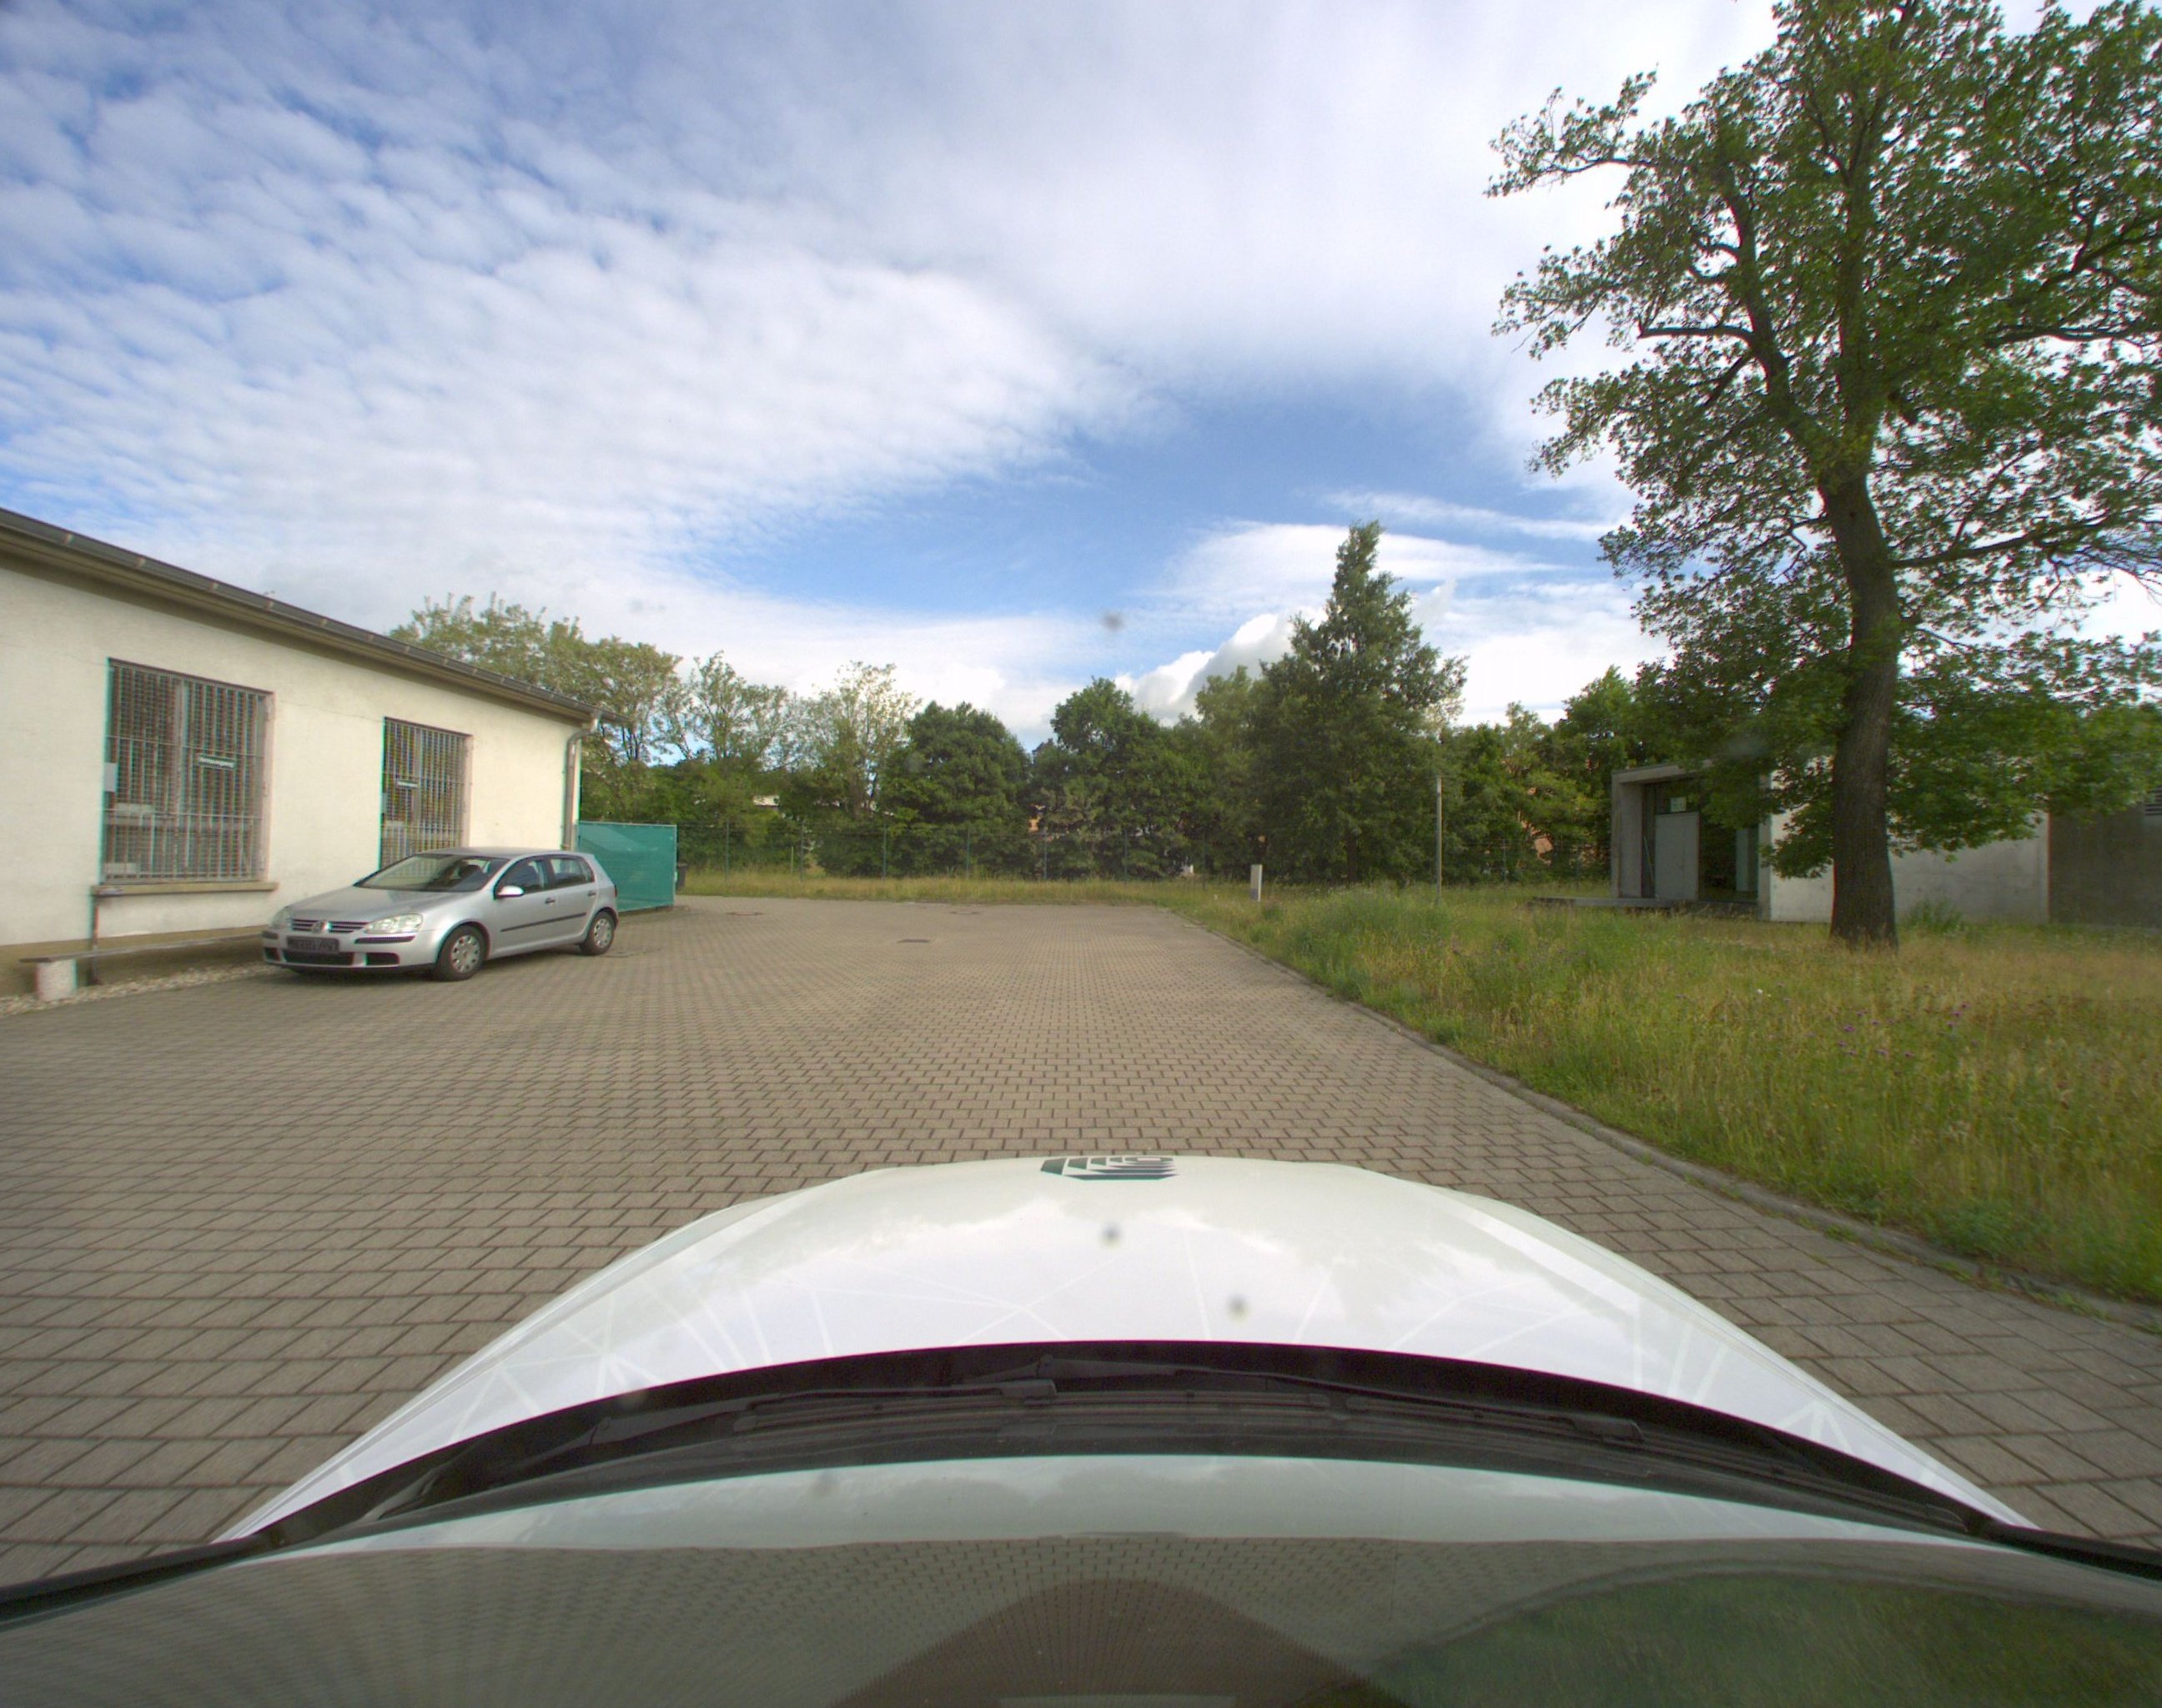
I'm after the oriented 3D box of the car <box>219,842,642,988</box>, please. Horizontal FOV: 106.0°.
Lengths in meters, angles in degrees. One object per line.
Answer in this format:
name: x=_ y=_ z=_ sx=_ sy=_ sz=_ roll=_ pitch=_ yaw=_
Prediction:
car: x=-7.673 y=0.617 z=10.334 sx=1.919 sy=1.439 sz=4.364 roll=1 pitch=0 yaw=-2
